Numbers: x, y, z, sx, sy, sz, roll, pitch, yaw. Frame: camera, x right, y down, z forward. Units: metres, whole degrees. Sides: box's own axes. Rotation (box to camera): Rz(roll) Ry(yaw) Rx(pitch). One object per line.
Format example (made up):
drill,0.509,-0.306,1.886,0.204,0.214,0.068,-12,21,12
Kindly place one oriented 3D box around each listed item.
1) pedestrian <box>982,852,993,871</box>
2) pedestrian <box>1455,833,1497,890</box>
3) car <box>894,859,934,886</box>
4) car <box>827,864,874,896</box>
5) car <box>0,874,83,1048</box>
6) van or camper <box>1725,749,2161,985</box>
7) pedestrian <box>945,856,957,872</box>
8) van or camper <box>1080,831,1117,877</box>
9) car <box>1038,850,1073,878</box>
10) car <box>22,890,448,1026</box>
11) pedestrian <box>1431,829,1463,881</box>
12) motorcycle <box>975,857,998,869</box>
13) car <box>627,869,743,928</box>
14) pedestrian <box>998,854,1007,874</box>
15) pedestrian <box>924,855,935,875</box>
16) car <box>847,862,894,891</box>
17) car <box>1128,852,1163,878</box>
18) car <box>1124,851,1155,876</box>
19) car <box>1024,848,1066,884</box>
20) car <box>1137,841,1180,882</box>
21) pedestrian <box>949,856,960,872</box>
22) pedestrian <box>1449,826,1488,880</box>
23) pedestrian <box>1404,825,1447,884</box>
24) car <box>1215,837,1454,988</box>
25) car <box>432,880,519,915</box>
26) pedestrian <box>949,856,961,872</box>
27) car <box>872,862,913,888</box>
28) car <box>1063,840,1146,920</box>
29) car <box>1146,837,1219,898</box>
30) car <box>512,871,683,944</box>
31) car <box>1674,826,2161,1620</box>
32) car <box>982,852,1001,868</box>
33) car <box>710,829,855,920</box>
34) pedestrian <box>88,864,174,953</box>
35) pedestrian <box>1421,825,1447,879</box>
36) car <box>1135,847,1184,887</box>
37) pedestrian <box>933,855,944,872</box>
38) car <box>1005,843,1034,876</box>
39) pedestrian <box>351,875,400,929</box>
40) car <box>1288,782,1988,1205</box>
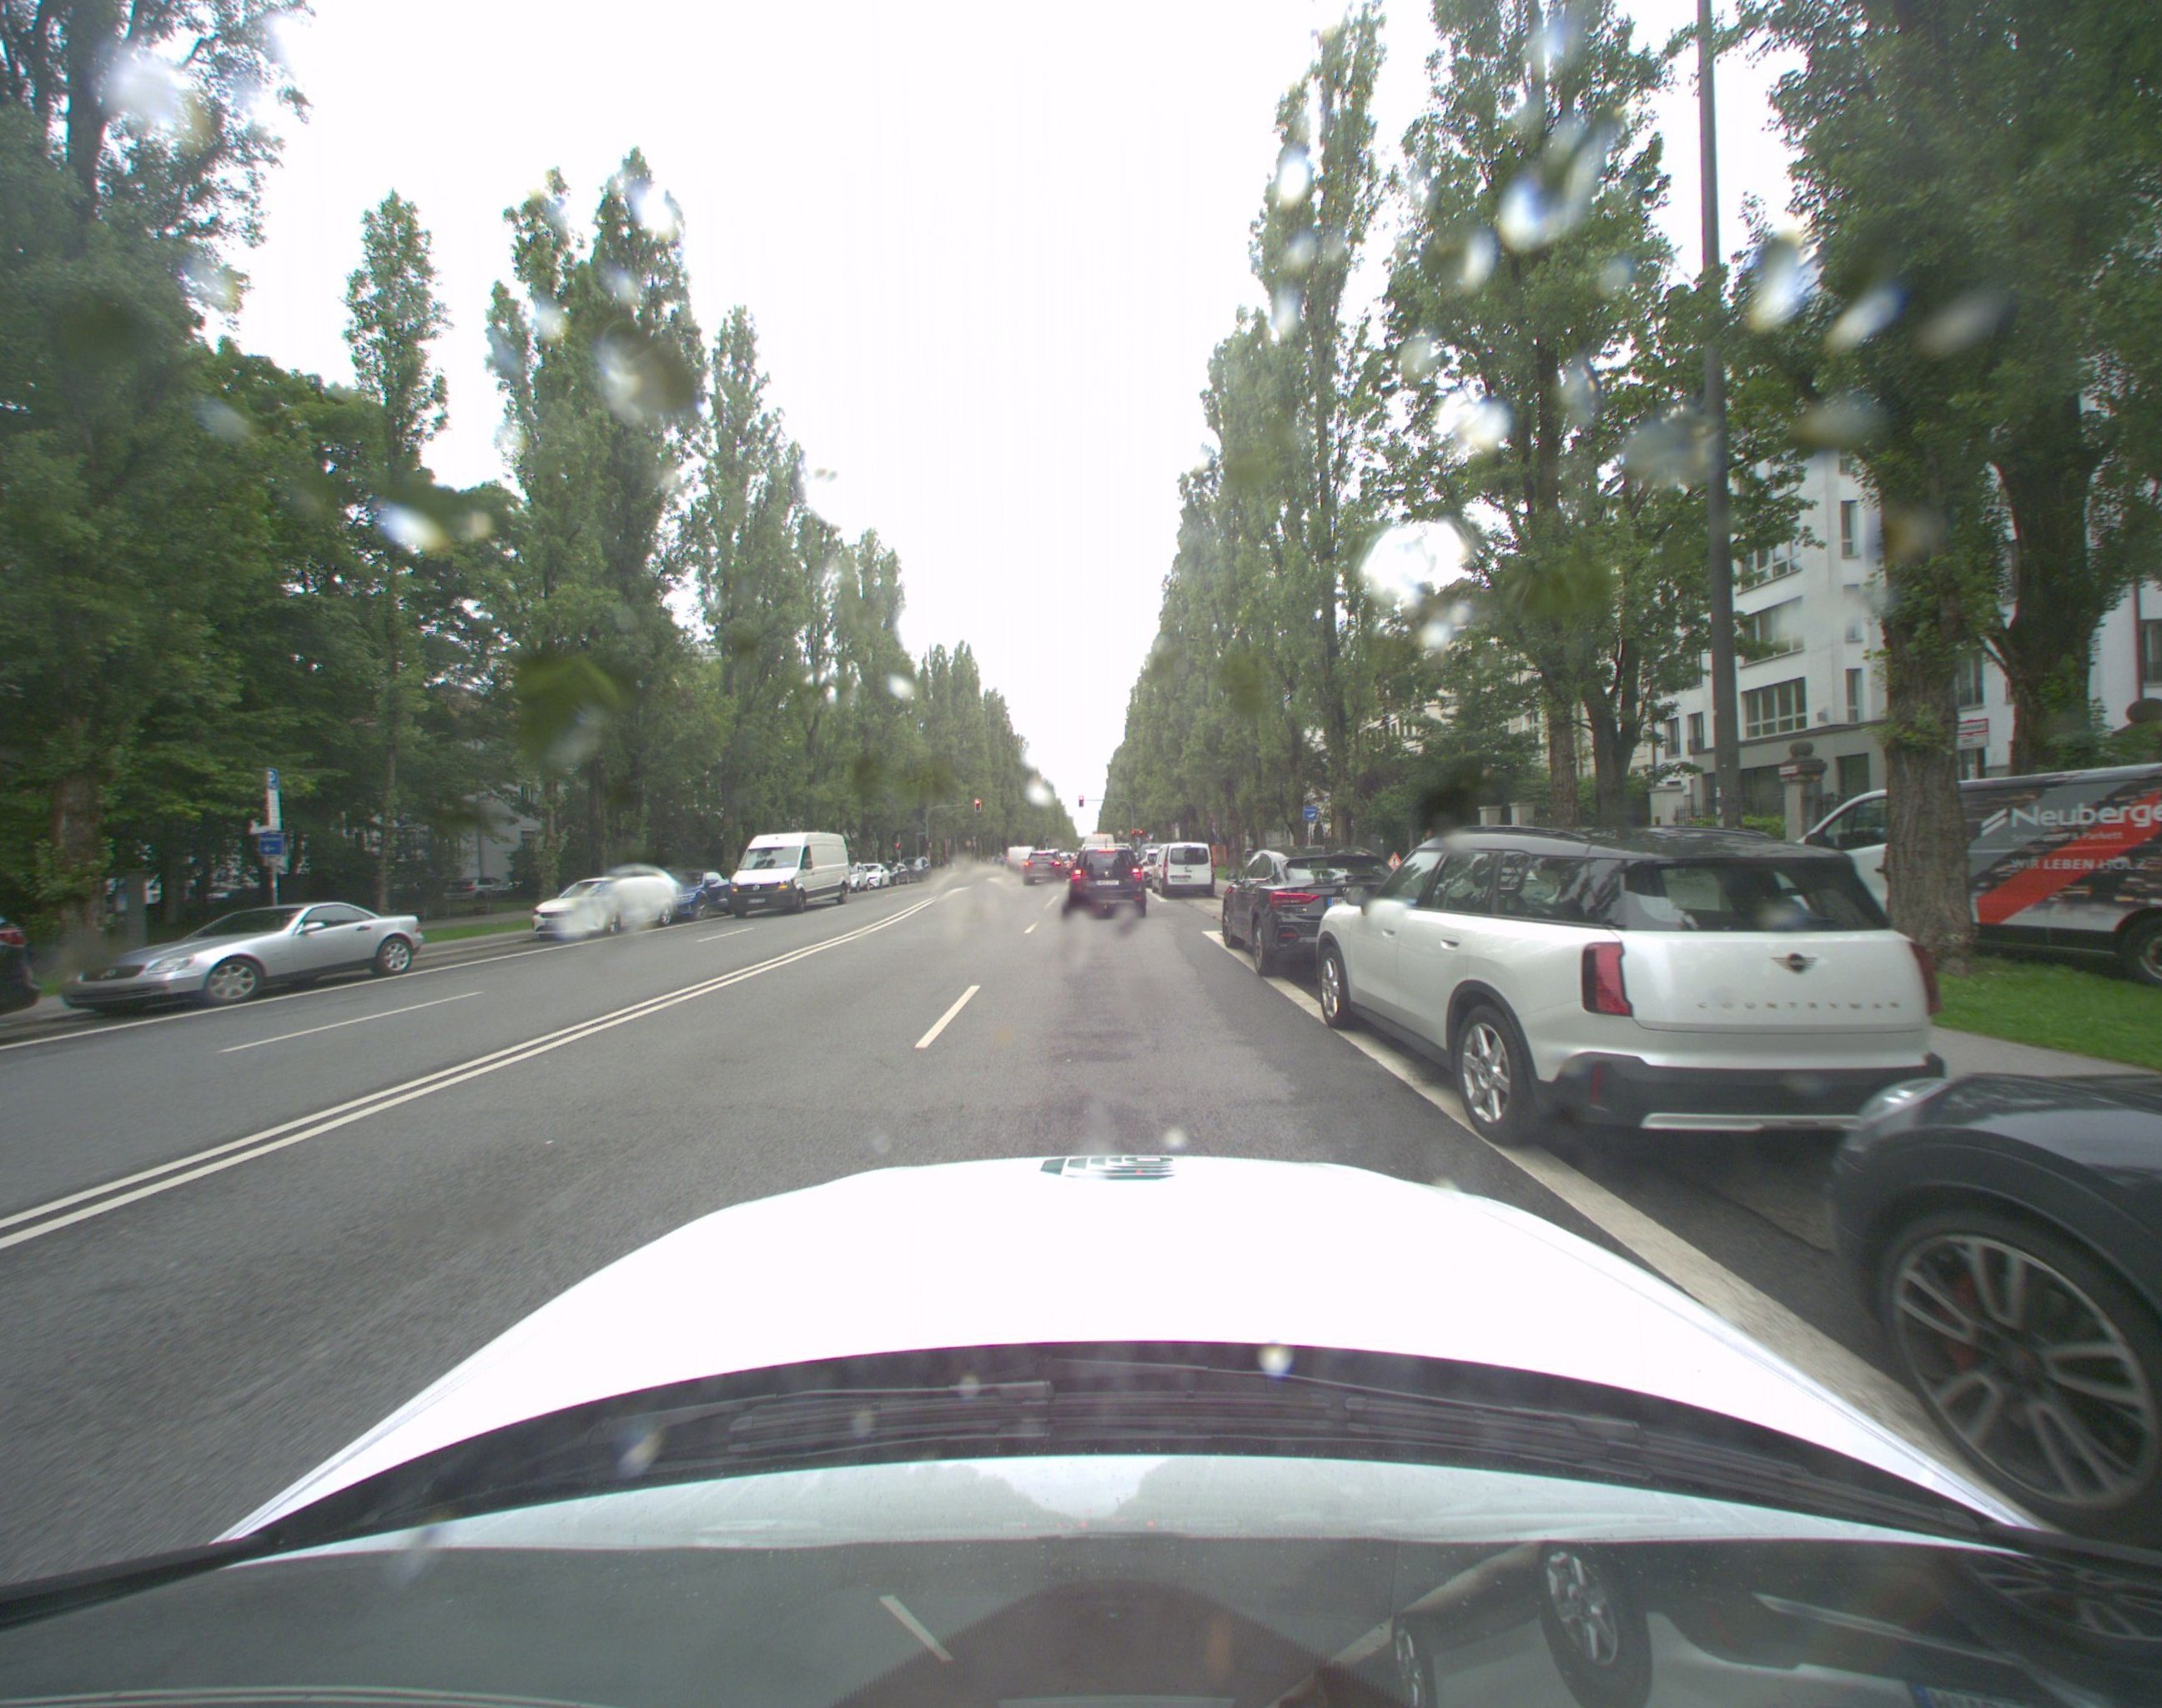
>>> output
pedestrian,-9.877,0.806,86.051,0.881,2.013,1.014,-2,0,4
pedestrian,13.039,0.243,26.886,0.905,1.800,0.825,-3,2,-20
car,-11.664,1.248,57.306,1.844,1.654,4.693,-4,0,-1
car,-11.796,1.303,41.845,1.423,1.447,2.966,-5,0,0
car,-12.083,1.189,6.557,1.935,1.767,4.894,-4,0,0
van or camper,9.939,0.073,8.633,2.069,1.933,5.370,-1,0,1
pedestrian,-14.121,1.074,88.642,0.887,1.655,0.868,-2,0,-37
van or camper,0.969,-0.006,47.881,1.969,2.548,4.023,-2,0,-1
car,-1.518,0.589,49.740,1.987,1.560,4.000,-2,1,0
car,-12.095,1.379,12.180,1.820,1.334,4.234,-4,0,0
pedestrian,11.306,0.028,25.180,0.566,1.578,0.867,-2,0,0
motorcycle,-10.367,0.977,89.423,2.355,1.269,0.930,-2,0,1
car,-12.014,1.310,24.995,1.704,1.451,3.585,-5,0,-1
pedestrian,-6.128,0.764,63.369,0.526,1.577,0.662,-2,0,1
pedestrian,-11.873,0.859,63.867,0.658,1.577,0.530,-2,0,1
car,-11.813,1.249,45.895,1.619,1.389,4.163,-4,0,-2
car,3.629,0.597,46.260,1.729,1.387,3.563,-2,0,1
car,3.712,0.556,51.767,1.729,1.475,3.563,-2,0,1
car,-1.722,0.545,39.847,1.775,1.620,4.025,-1,0,1
car,3.798,0.328,40.490,1.729,1.895,4.025,-2,0,1
pedestrian,-13.961,1.090,89.827,0.887,1.655,0.868,-2,0,-37
pedestrian,13.060,-0.031,27.466,0.801,1.781,0.816,-2,0,-16
pedestrian,10.568,0.013,24.994,0.850,1.717,0.867,-3,0,0
car,3.055,0.604,10.868,1.873,1.540,4.466,-2,0,1
car,-35.602,2.519,48.007,1.986,1.772,4.002,-2,0,2
pedestrian,-13.615,1.061,87.925,0.887,1.655,0.868,-2,0,-37
car,-11.819,1.277,51.357,1.619,1.389,4.164,-4,0,-1
car,0.563,0.564,19.979,1.849,1.770,4.001,0,0,1
car,3.388,0.418,27.905,1.846,1.881,4.166,-2,0,-1
car,-12.197,1.283,20.918,1.765,1.452,4.232,-4,0,0
car,2.916,0.712,0.705,1.697,1.519,4.296,-2,0,1
car,-10.709,0.680,97.772,1.682,1.783,3.775,-2,0,1
car,-9.545,0.586,26.861,2.221,2.483,6.755,-4,0,-1
pedestrian,-18.613,1.057,15.971,0.735,1.664,0.751,-2,0,1
pedestrian,12.456,-0.067,28.739,0.487,1.862,0.635,-2,0,-16
car,3.306,0.510,35.116,1.735,1.593,4.212,-2,0,1
pedestrian,-15.626,1.060,89.554,0.875,1.764,0.880,-2,0,10
car,-4.143,0.353,55.557,1.777,2.111,4.021,-2,0,-2
pedestrian,-21.793,1.476,25.164,0.734,1.599,0.881,-1,0,2
car,2.871,0.557,5.638,1.737,1.675,4.580,-2,0,1
